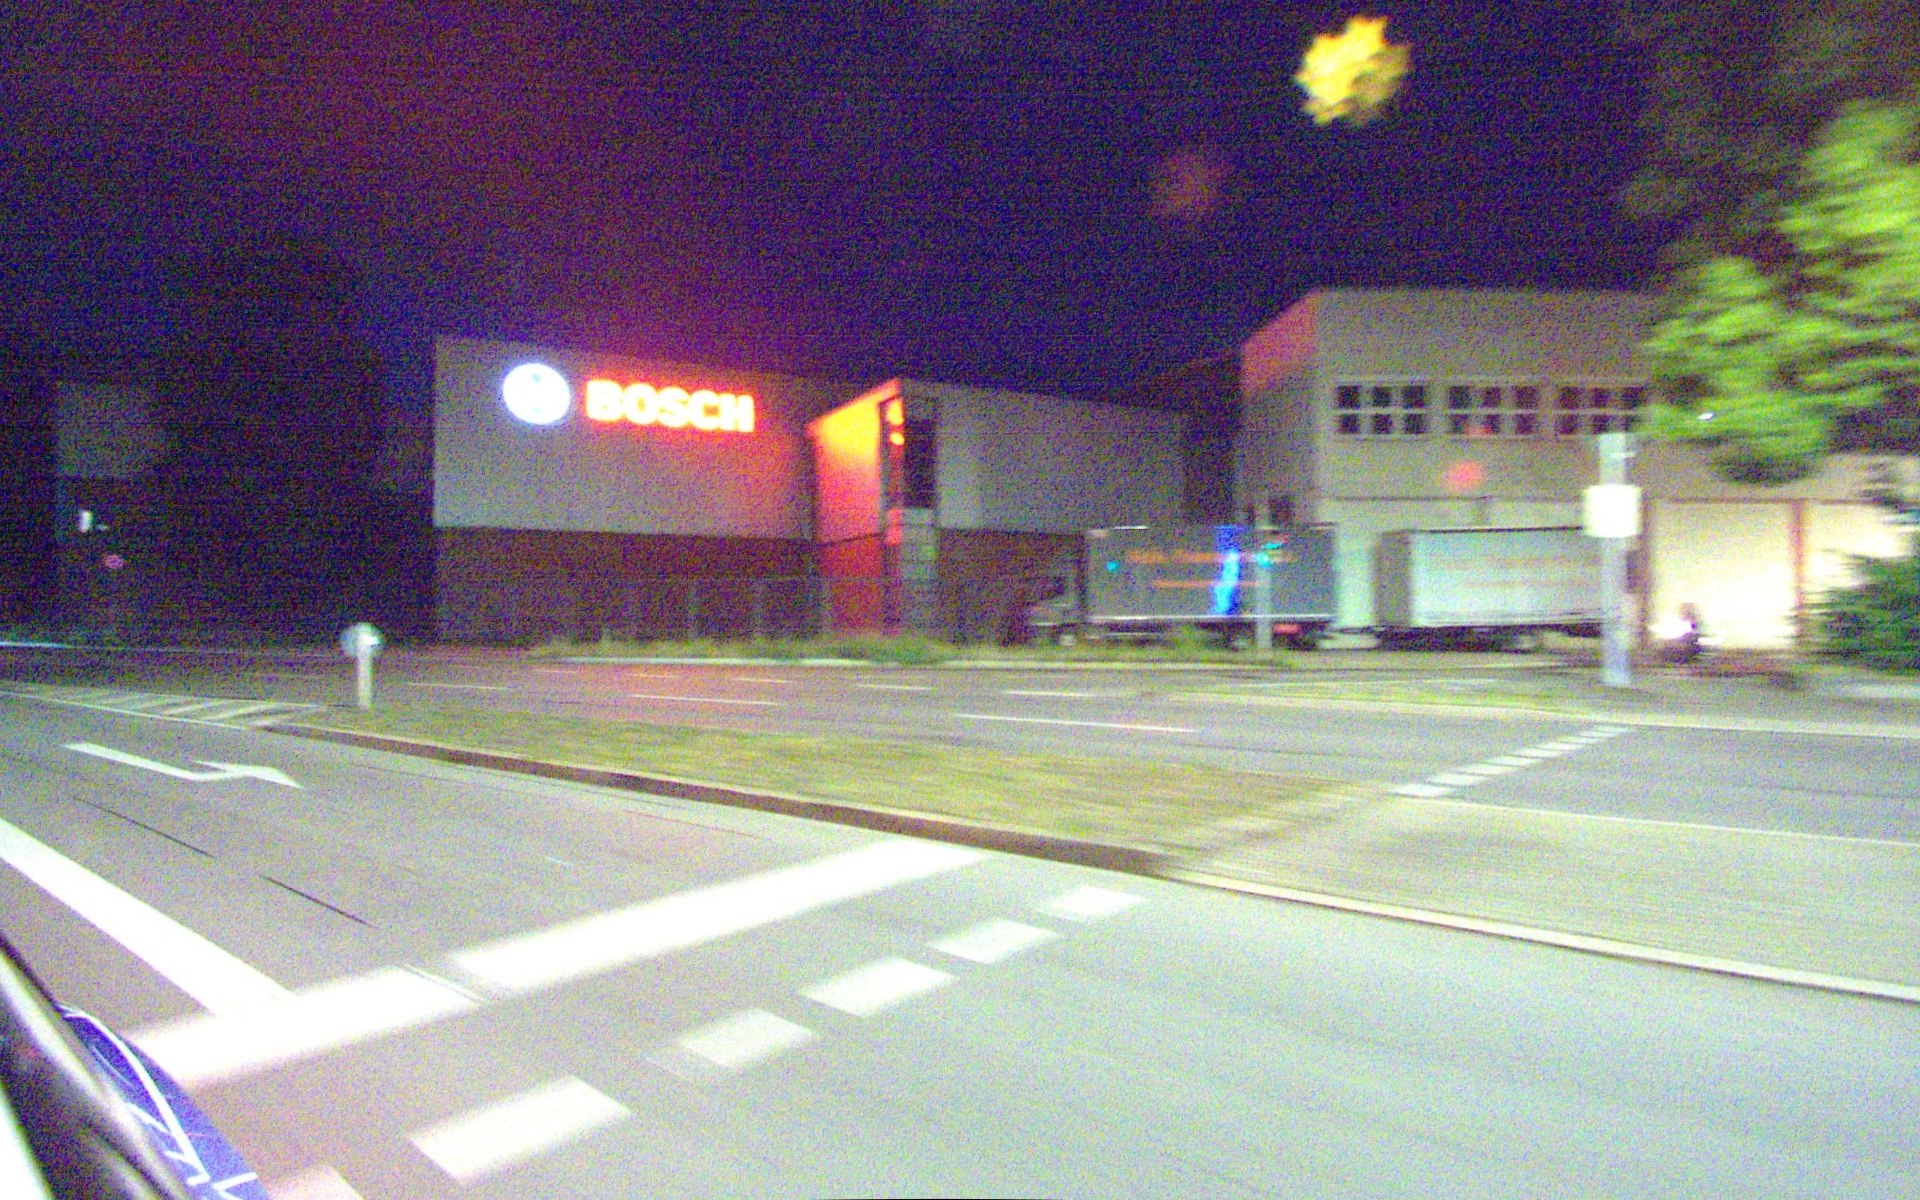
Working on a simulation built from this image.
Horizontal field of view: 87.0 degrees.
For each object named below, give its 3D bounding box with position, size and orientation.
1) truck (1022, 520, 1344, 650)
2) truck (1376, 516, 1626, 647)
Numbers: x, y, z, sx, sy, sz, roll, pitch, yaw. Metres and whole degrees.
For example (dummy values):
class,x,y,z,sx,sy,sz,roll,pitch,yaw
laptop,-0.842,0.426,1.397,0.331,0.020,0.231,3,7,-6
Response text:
class,x,y,z,sx,sy,sz,roll,pitch,yaw
truck,6.526,-0.422,30.605,9.239,3.750,1.997,0,0,5
truck,16.115,-0.524,30.425,6.122,3.721,2.400,-1,0,1
